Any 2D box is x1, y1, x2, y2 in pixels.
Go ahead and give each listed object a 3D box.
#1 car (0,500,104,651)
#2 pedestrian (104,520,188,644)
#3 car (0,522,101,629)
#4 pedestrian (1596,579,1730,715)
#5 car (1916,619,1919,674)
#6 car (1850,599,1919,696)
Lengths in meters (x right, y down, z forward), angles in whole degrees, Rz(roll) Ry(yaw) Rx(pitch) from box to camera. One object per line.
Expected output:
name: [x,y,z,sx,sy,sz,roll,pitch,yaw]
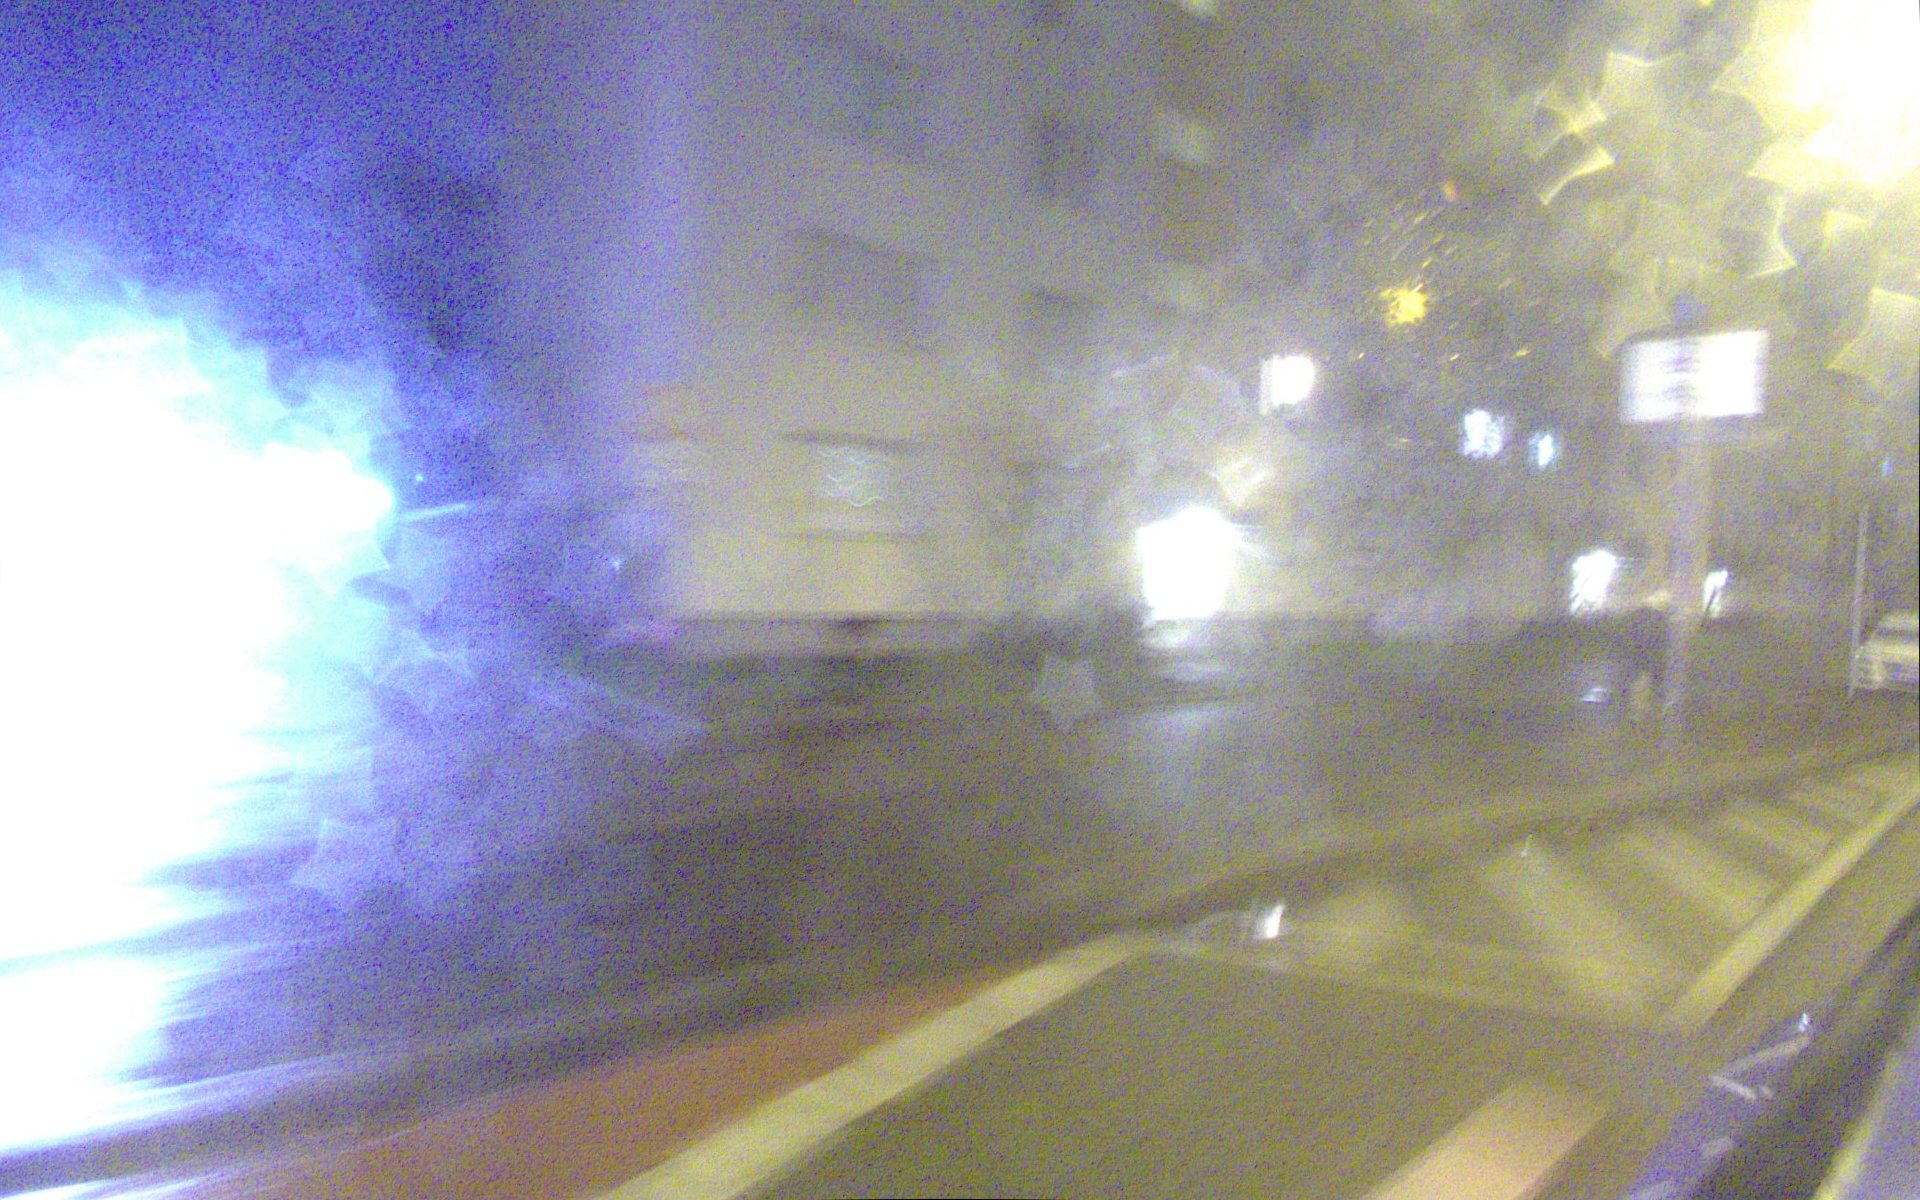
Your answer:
car: [-13.332,-0.370,14.238,1.894,1.894,3.996,1,1,-40]
pedestrian: [-12.098,-0.267,15.070,0.857,1.759,1.087,2,1,-35]
car: [-16.274,-0.450,17.725,1.809,1.694,3.996,1,1,-40]
pedestrian: [8.749,0.552,12.608,0.999,1.595,1.053,2,0,-35]
car: [22.294,0.913,21.926,4.409,1.439,1.826,1,3,-41]
car: [17.784,0.858,18.335,4.699,1.549,1.826,1,3,-41]
